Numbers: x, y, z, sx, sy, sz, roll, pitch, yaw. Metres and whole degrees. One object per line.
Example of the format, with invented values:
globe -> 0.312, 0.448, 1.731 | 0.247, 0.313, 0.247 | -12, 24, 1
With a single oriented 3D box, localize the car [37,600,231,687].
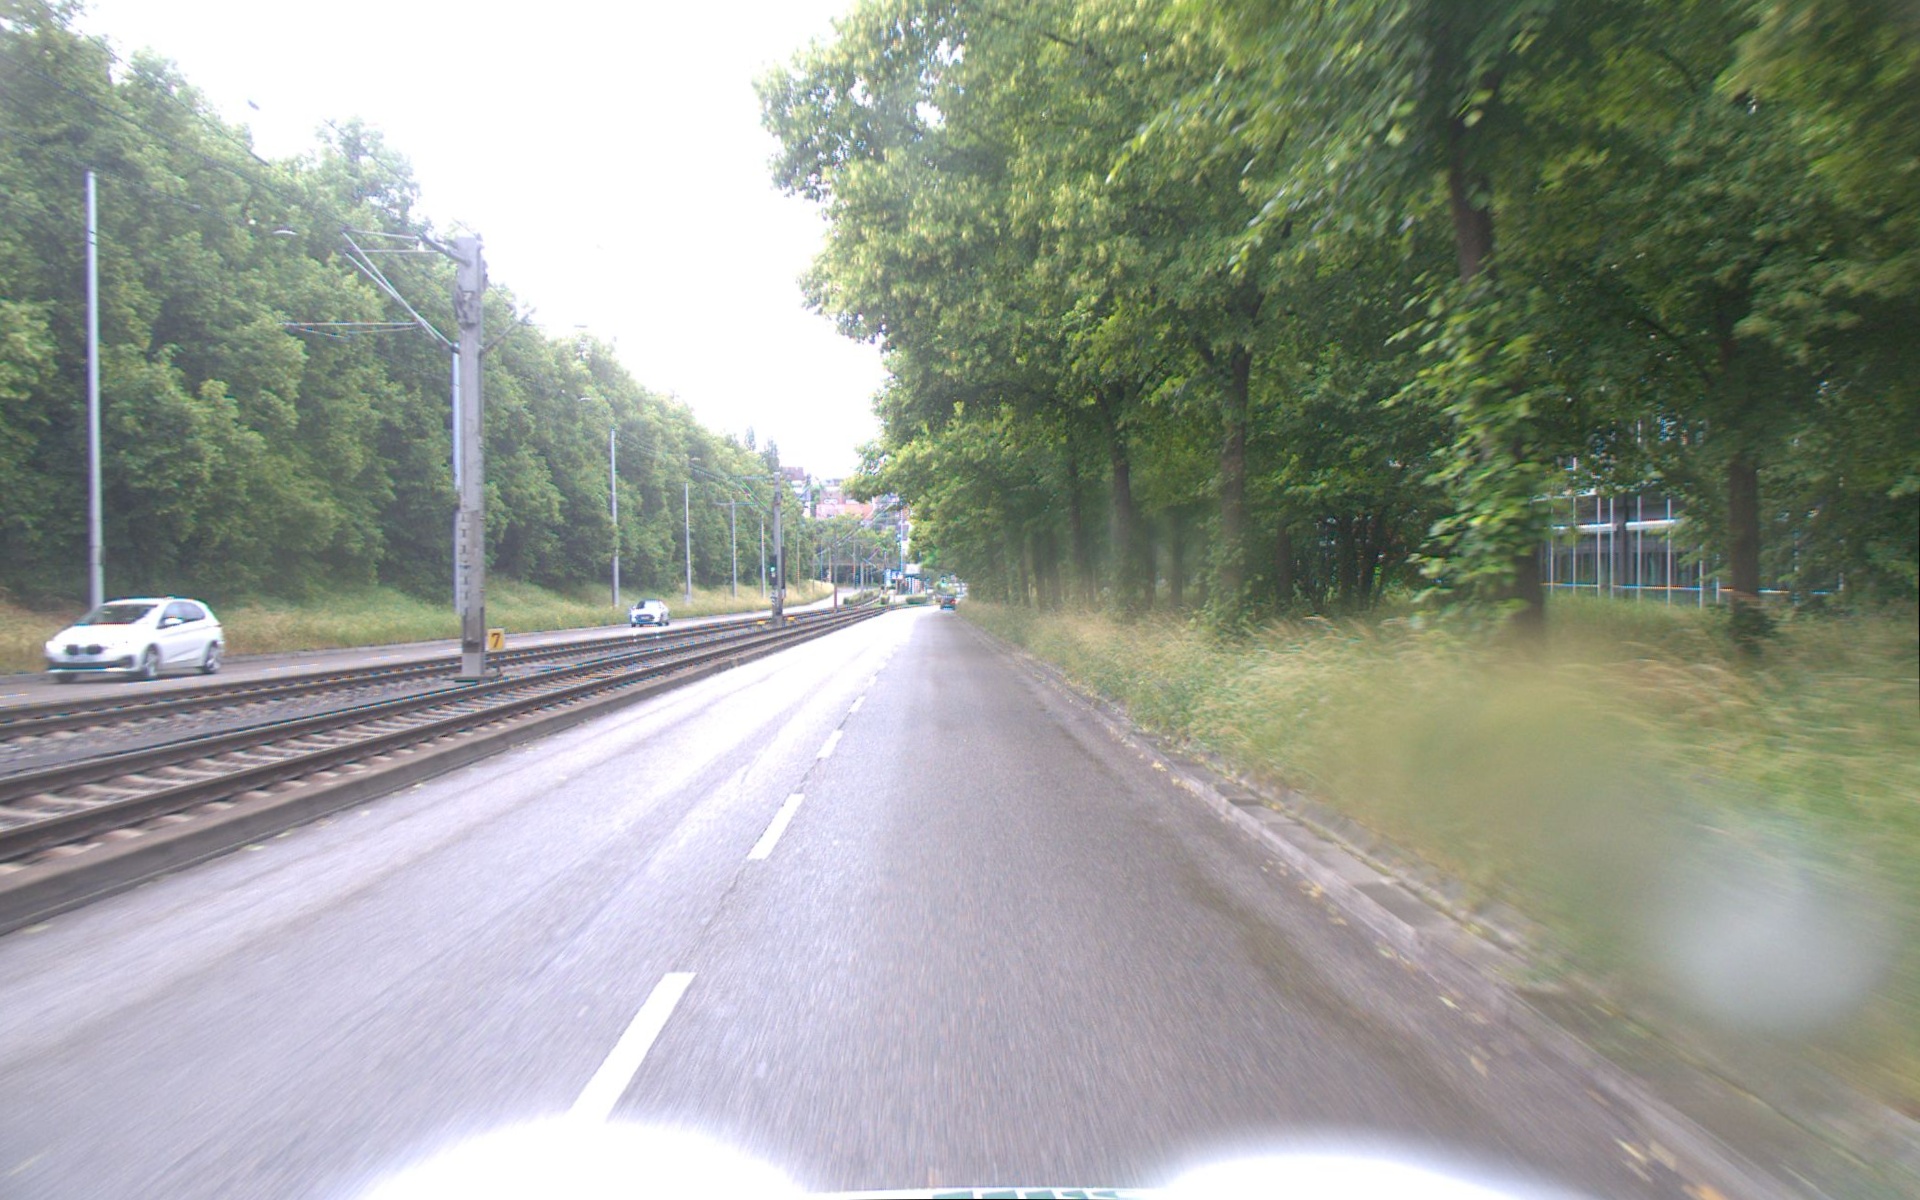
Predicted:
car -> -16.116, 0.796, 32.525 | 1.619, 1.556, 4.380 | 0, 0, 0

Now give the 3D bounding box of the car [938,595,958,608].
car -> -1.363, 0.202, 186.276 | 2.149, 1.352, 3.999 | 0, 1, -1

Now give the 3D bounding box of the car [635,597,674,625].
car -> -16.944, 0.586, 91.880 | 1.446, 1.461, 3.909 | -2, 0, -1
